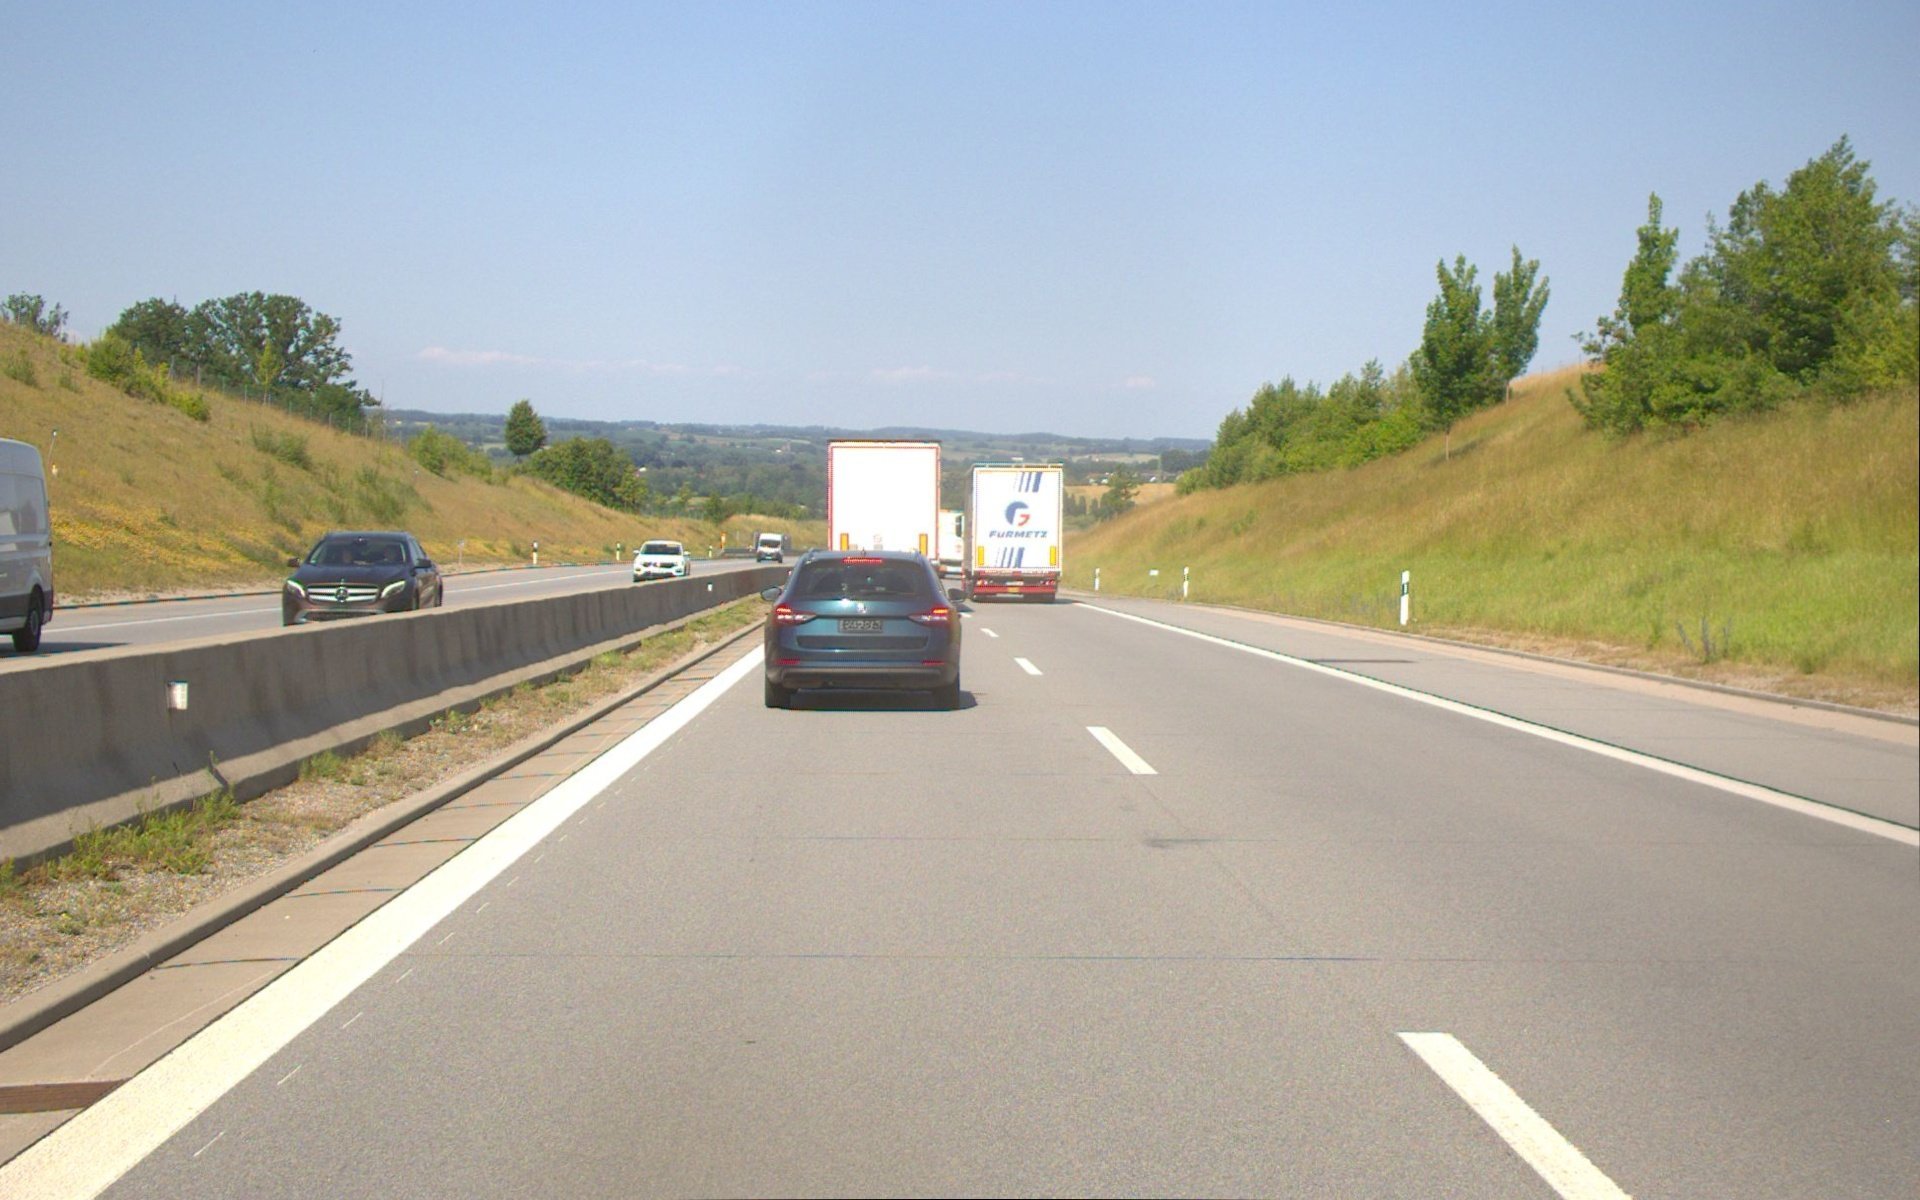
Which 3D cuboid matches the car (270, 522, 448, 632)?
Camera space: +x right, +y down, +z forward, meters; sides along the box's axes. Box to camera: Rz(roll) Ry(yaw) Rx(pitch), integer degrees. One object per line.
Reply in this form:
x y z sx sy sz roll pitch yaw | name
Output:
-8.510 -0.361 48.984 1.853 1.456 4.333 1 1 -1 | car

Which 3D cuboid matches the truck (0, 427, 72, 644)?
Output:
-11.930 -0.763 39.390 2.112 2.452 5.952 1 1 -2 | truck

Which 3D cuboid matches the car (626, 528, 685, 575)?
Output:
-10.615 -1.699 120.037 1.775 1.596 4.040 1 1 -1 | car

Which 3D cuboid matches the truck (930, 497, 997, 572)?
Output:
0.274 -3.933 206.494 3.604 4.366 11.233 1 1 2 | truck

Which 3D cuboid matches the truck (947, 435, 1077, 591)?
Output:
1.638 -2.568 102.957 3.604 4.366 11.233 1 1 2 | truck

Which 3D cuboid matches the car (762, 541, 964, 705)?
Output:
-0.923 0.170 32.281 1.776 1.436 3.789 0 1 -2 | car

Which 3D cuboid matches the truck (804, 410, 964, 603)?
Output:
-1.732 -2.236 84.002 3.211 4.366 11.233 1 1 2 | truck
